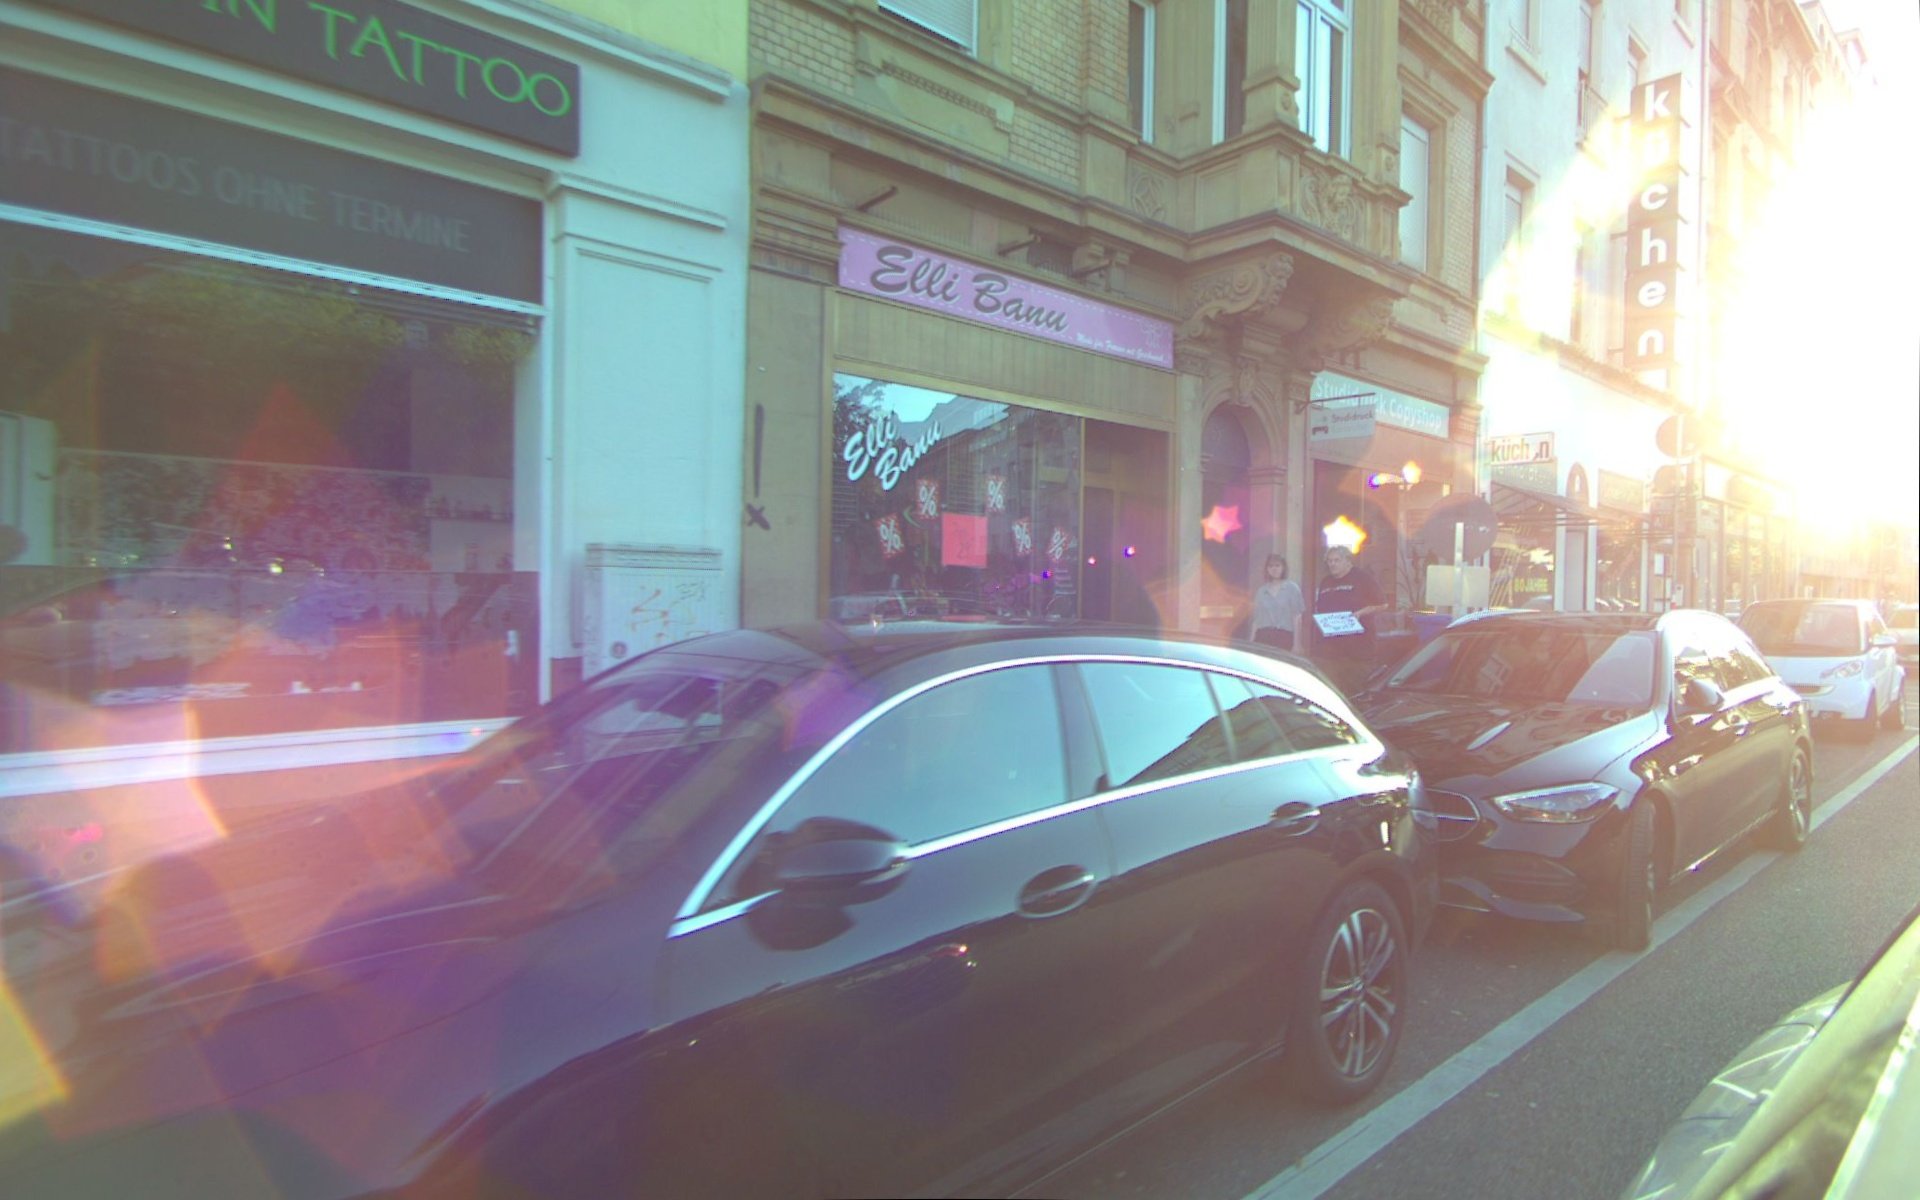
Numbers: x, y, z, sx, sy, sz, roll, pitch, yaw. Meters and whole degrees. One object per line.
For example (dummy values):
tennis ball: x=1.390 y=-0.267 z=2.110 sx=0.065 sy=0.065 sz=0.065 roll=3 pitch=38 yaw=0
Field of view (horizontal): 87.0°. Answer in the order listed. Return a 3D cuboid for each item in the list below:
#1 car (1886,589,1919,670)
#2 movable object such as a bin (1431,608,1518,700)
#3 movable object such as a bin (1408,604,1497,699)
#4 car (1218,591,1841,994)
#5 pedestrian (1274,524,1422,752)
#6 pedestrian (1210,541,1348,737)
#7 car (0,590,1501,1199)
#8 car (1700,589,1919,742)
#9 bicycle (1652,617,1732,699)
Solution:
car: x=20.641 y=0.538 z=20.978 sx=4.740 sy=1.556 sz=1.760 roll=-1 pitch=0 yaw=-43
movable object such as a bin: x=6.576 y=0.667 z=12.943 sx=0.607 sy=1.083 sz=0.776 roll=0 pitch=3 yaw=-41
movable object such as a bin: x=6.107 y=0.619 z=12.564 sx=0.607 sy=1.083 sz=0.776 roll=0 pitch=3 yaw=-41
car: x=3.550 y=0.713 z=5.882 sx=4.445 sy=1.467 sz=1.732 roll=-1 pitch=0 yaw=-41
pedestrian: x=3.394 y=0.292 z=8.841 sx=0.993 sy=1.850 sz=0.774 roll=0 pitch=2 yaw=-41
pedestrian: x=3.018 y=0.331 z=9.570 sx=1.024 sy=1.732 sz=0.774 roll=0 pitch=2 yaw=-41
car: x=-0.398 y=0.739 z=2.670 sx=4.395 sy=1.467 sz=1.732 roll=-1 pitch=0 yaw=-41
car: x=10.255 y=0.664 z=12.091 sx=3.225 sy=1.556 sz=1.535 roll=-1 pitch=0 yaw=-40
bicycle: x=10.213 y=0.768 z=14.092 sx=1.914 sy=1.028 sz=0.505 roll=0 pitch=1 yaw=-42
